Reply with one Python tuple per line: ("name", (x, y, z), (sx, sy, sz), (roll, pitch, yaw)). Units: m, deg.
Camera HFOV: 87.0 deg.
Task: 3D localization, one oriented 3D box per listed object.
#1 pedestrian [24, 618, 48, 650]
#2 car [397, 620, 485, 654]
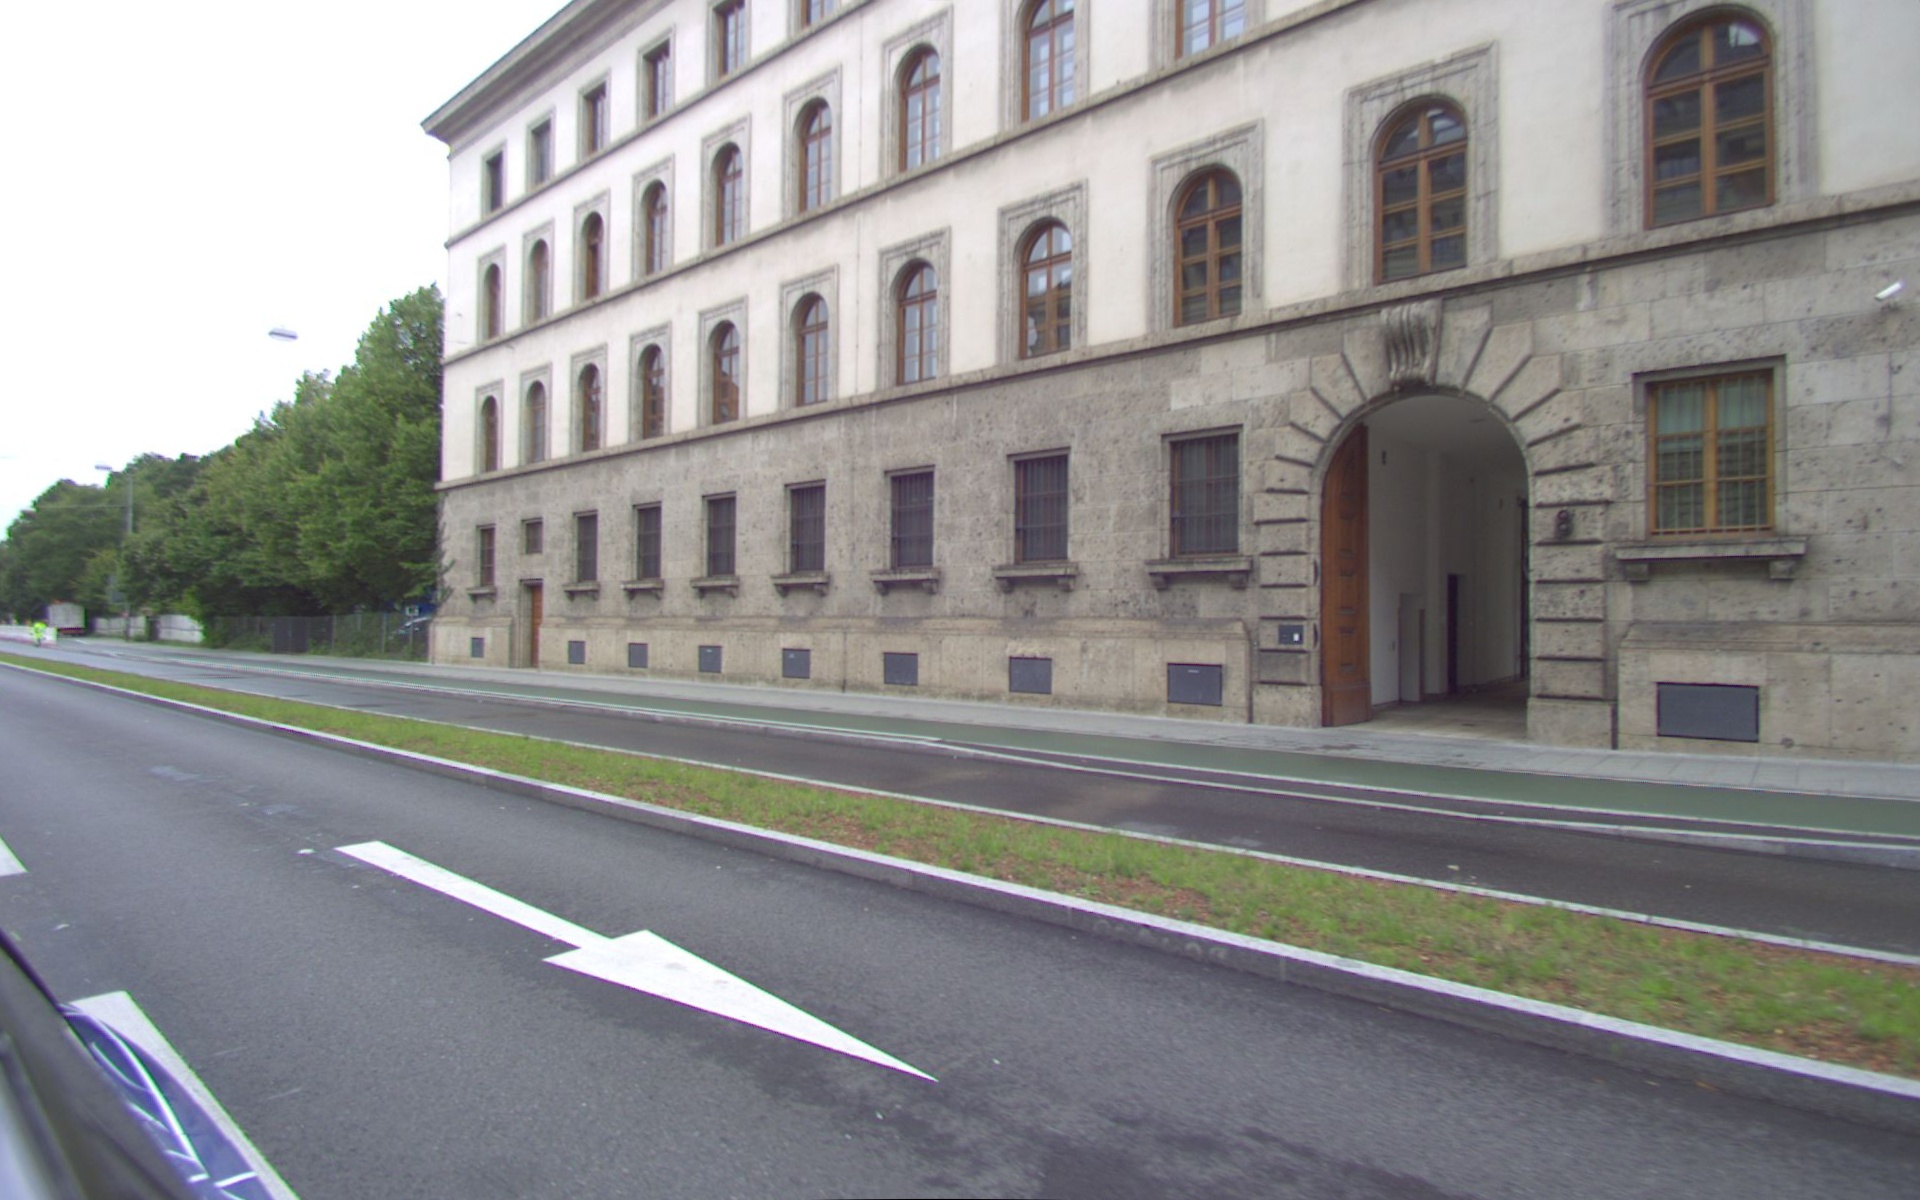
("pedestrian", (-58.953, 2.182, 64.549), (0.857, 2.029, 0.757), (-1, -1, 6))
("car", (-28.659, 2.005, 55.961), (1.877, 1.722, 3.981), (2, 1, 45))
